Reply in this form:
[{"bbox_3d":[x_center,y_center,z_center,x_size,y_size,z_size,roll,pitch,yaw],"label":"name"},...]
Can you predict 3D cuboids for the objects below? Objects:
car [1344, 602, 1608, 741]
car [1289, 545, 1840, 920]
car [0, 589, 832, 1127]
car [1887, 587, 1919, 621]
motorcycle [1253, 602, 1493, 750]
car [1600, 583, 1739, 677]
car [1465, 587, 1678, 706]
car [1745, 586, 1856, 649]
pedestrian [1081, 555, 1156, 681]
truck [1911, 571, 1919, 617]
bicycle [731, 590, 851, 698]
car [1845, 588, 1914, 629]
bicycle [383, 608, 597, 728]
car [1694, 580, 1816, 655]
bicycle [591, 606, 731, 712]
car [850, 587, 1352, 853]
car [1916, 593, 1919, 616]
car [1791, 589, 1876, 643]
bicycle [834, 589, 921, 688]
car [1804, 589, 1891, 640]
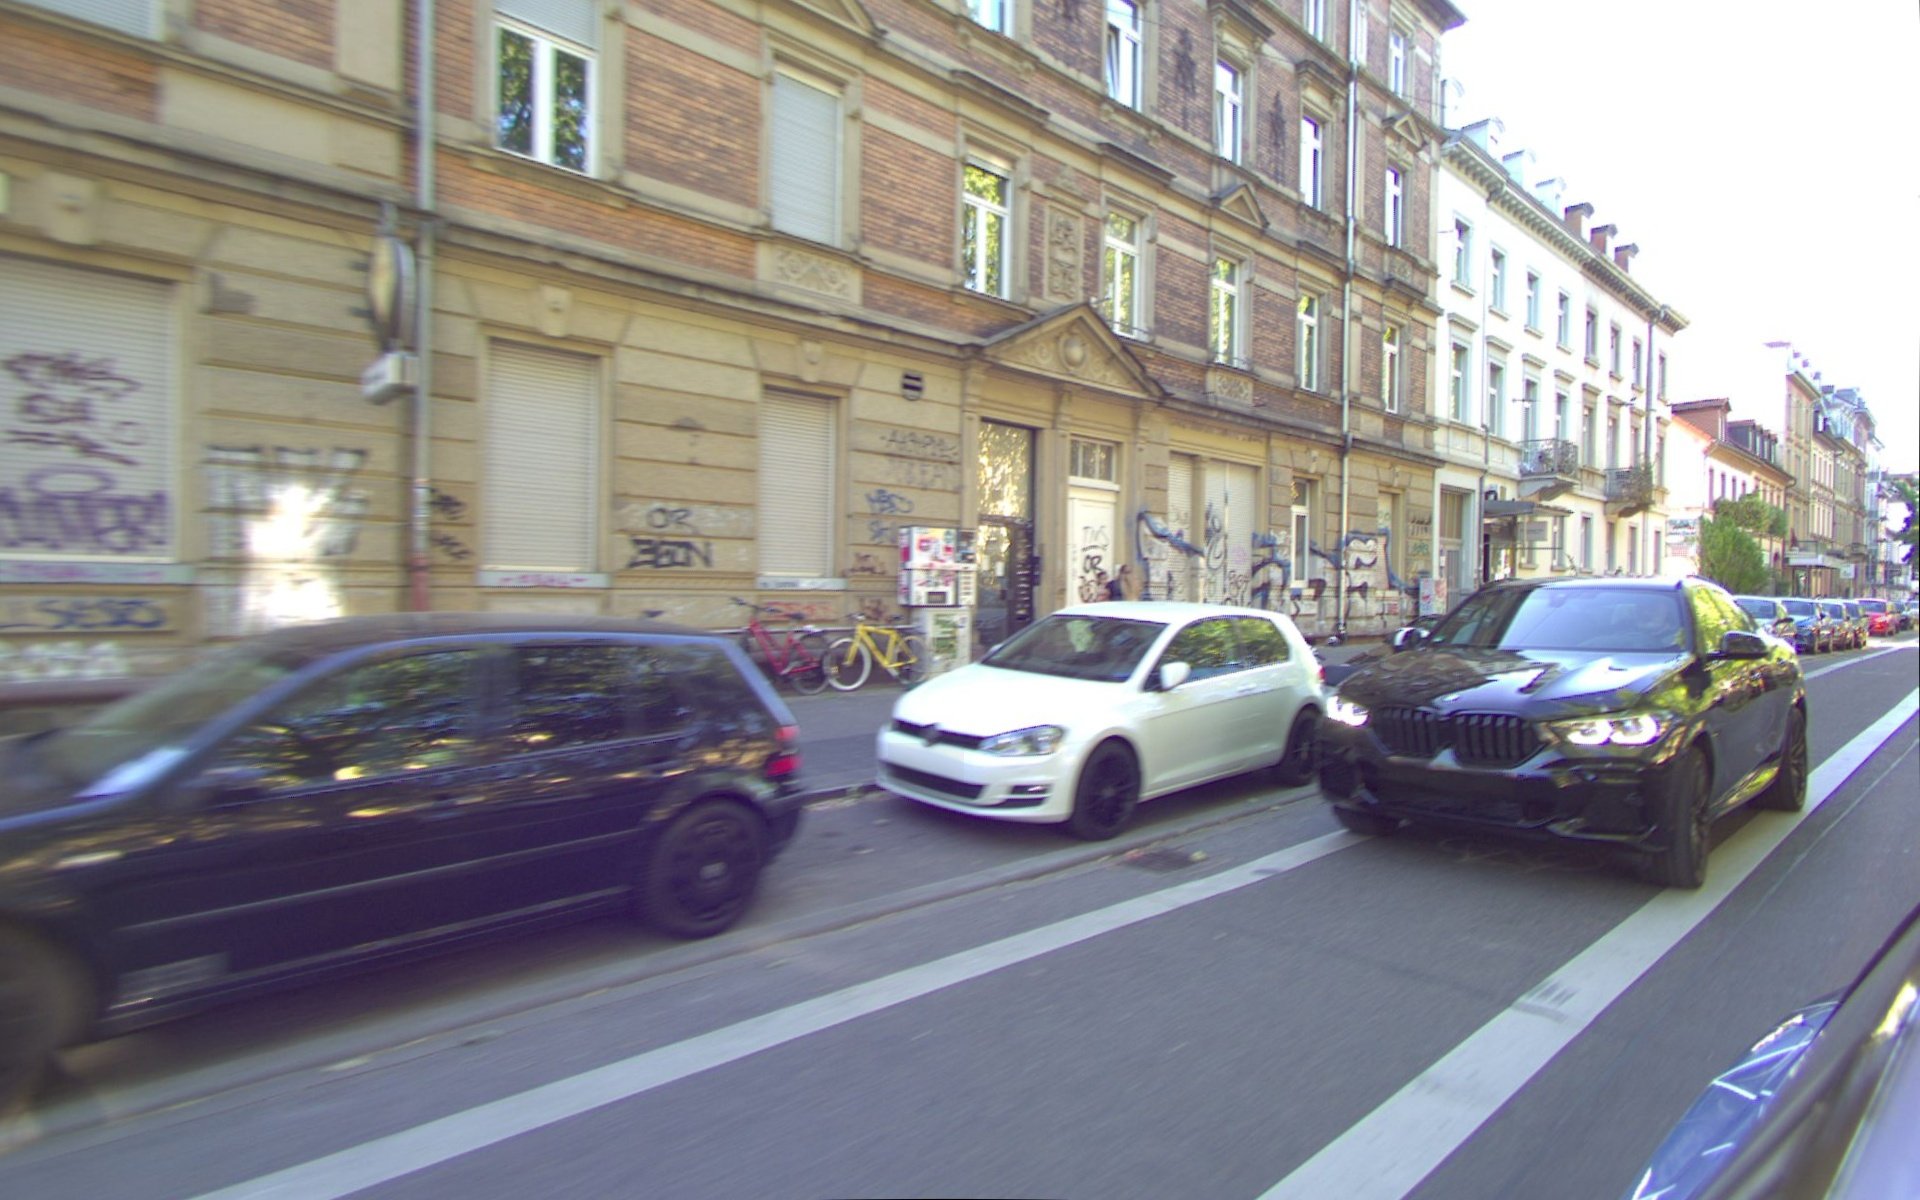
[{"bbox_3d":[6.294,0.738,12.195,3.662,1.288,1.651,-1,4,-43],"label":"car"},{"bbox_3d":[4.337,0.580,6.909,4.550,1.725,1.947,0,1,-42],"label":"car"},{"bbox_3d":[-2.623,0.725,4.128,1.650,1.438,3.994,4,4,45],"label":"car"},{"bbox_3d":[47.395,0.193,50.178,3.622,1.587,1.702,0,3,-41],"label":"car"},{"bbox_3d":[4.030,0.692,9.961,2.119,1.305,0.637,1,1,27],"label":"motorcycle"},{"bbox_3d":[13.308,0.501,18.947,2.772,1.561,1.513,0,3,-42],"label":"car"},{"bbox_3d":[9.124,0.583,14.996,3.676,1.469,1.609,0,3,-41],"label":"car"},{"bbox_3d":[23.835,0.443,28.658,3.839,1.523,1.729,0,6,-41],"label":"car"},{"bbox_3d":[2.188,0.230,13.973,0.753,1.677,0.715,0,1,-43],"label":"pedestrian"},{"bbox_3d":[70.771,-0.461,72.890,7.171,3.203,2.838,-1,0,-43],"label":"truck"},{"bbox_3d":[-1.916,0.475,11.593,1.348,1.168,0.378,0,1,-41],"label":"bicycle"},{"bbox_3d":[38.343,0.329,42.195,3.622,1.587,1.702,0,3,-41],"label":"car"},{"bbox_3d":[-4.331,0.591,9.414,1.769,1.013,0.379,0,1,-38],"label":"bicycle"},{"bbox_3d":[19.152,0.369,24.328,3.842,1.523,1.634,-1,6,-43],"label":"car"},{"bbox_3d":[-3.065,0.574,10.443,1.348,1.013,0.378,0,1,-41],"label":"bicycle"},{"bbox_3d":[1.247,0.664,7.691,3.945,1.438,1.605,-1,4,-43],"label":"car"},{"bbox_3d":[60.507,0.301,62.577,3.622,1.348,1.702,0,3,-41],"label":"car"},{"bbox_3d":[27.380,0.468,31.689,3.301,1.524,1.542,0,3,-41],"label":"car"},{"bbox_3d":[-1.008,0.451,12.490,1.119,1.168,0.274,0,1,-41],"label":"bicycle"},{"bbox_3d":[30.270,0.448,34.485,3.622,1.587,1.728,0,3,-41],"label":"car"}]
